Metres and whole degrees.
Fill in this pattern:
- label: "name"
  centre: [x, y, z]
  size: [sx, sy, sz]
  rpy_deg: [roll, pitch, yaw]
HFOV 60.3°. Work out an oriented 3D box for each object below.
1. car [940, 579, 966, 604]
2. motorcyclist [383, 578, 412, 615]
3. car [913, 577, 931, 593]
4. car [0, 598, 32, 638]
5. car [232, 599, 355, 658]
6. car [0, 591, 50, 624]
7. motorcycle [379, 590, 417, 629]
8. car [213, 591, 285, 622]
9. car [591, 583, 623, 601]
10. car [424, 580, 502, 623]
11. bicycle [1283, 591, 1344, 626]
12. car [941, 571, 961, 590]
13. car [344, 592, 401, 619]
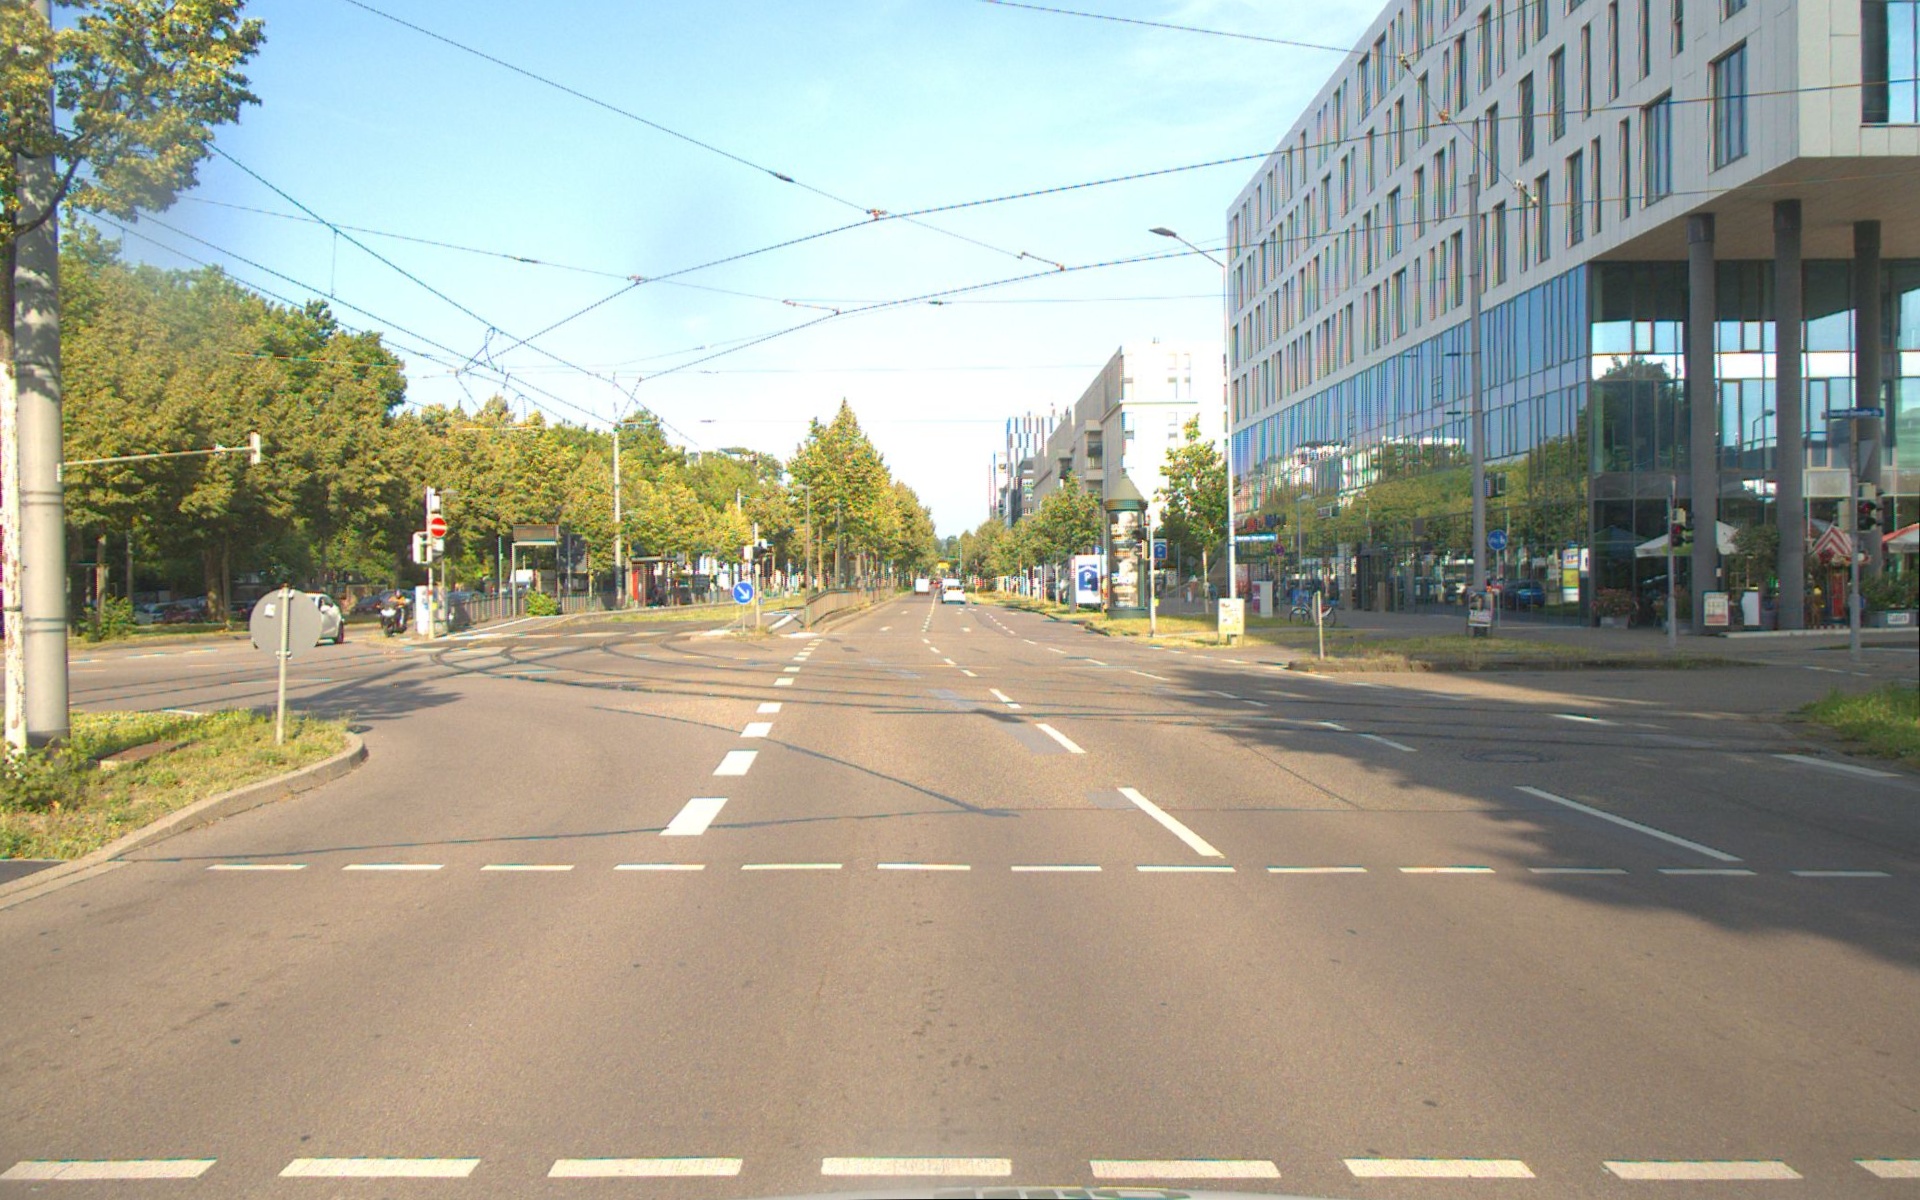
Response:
- label: "car"
  centre: [-0.508, -0.642, 122.911]
  size: [1.826, 1.713, 4.000]
  rpy_deg: [1, 1, 0]
- label: "motorcyclist"
  centre: [-18.960, -0.134, 55.786]
  size: [0.767, 1.223, 0.846]
  rpy_deg: [1, 1, -8]
- label: "car"
  centre: [-4.320, -1.720, 189.144]
  size: [1.973, 1.713, 4.000]
  rpy_deg: [1, 1, 0]
- label: "car"
  centre: [-39.268, 0.727, 66.139]
  size: [1.841, 1.586, 4.002]
  rpy_deg: [-1, 0, 4]
- label: "car"
  centre: [-18.906, 0.776, 47.114]
  size: [1.954, 1.530, 4.091]
  rpy_deg: [-1, 0, -3]
- label: "car"
  centre: [-46.581, 0.364, 80.779]
  size: [1.841, 1.586, 4.002]
  rpy_deg: [-1, 0, 4]
- label: "motorcycle"
  centre: [-19.032, 0.312, 56.065]
  size: [0.803, 1.285, 2.544]
  rpy_deg: [0, 1, -9]
- label: "car"
  centre: [-38.040, 0.349, 88.549]
  size: [1.841, 1.586, 4.002]
  rpy_deg: [-1, 0, 4]
- label: "car"
  centre: [-33.252, -0.755, 155.968]
  size: [1.841, 1.586, 4.002]
  rpy_deg: [-1, 0, 4]
- label: "car"
  centre: [-19.724, 0.039, 65.867]
  size: [1.694, 1.487, 4.574]
  rpy_deg: [-4, 2, -1]
- label: "bicycle"
  centre: [11.471, 0.263, 53.694]
  size: [0.768, 1.050, 1.848]
  rpy_deg: [-1, 3, -44]
- label: "car"
  centre: [-0.870, -1.866, 158.392]
  size: [1.826, 1.713, 4.000]
  rpy_deg: [1, 1, 0]
- label: "car"
  centre: [-36.778, 0.318, 103.592]
  size: [1.841, 1.586, 4.002]
  rpy_deg: [-1, 0, 4]
